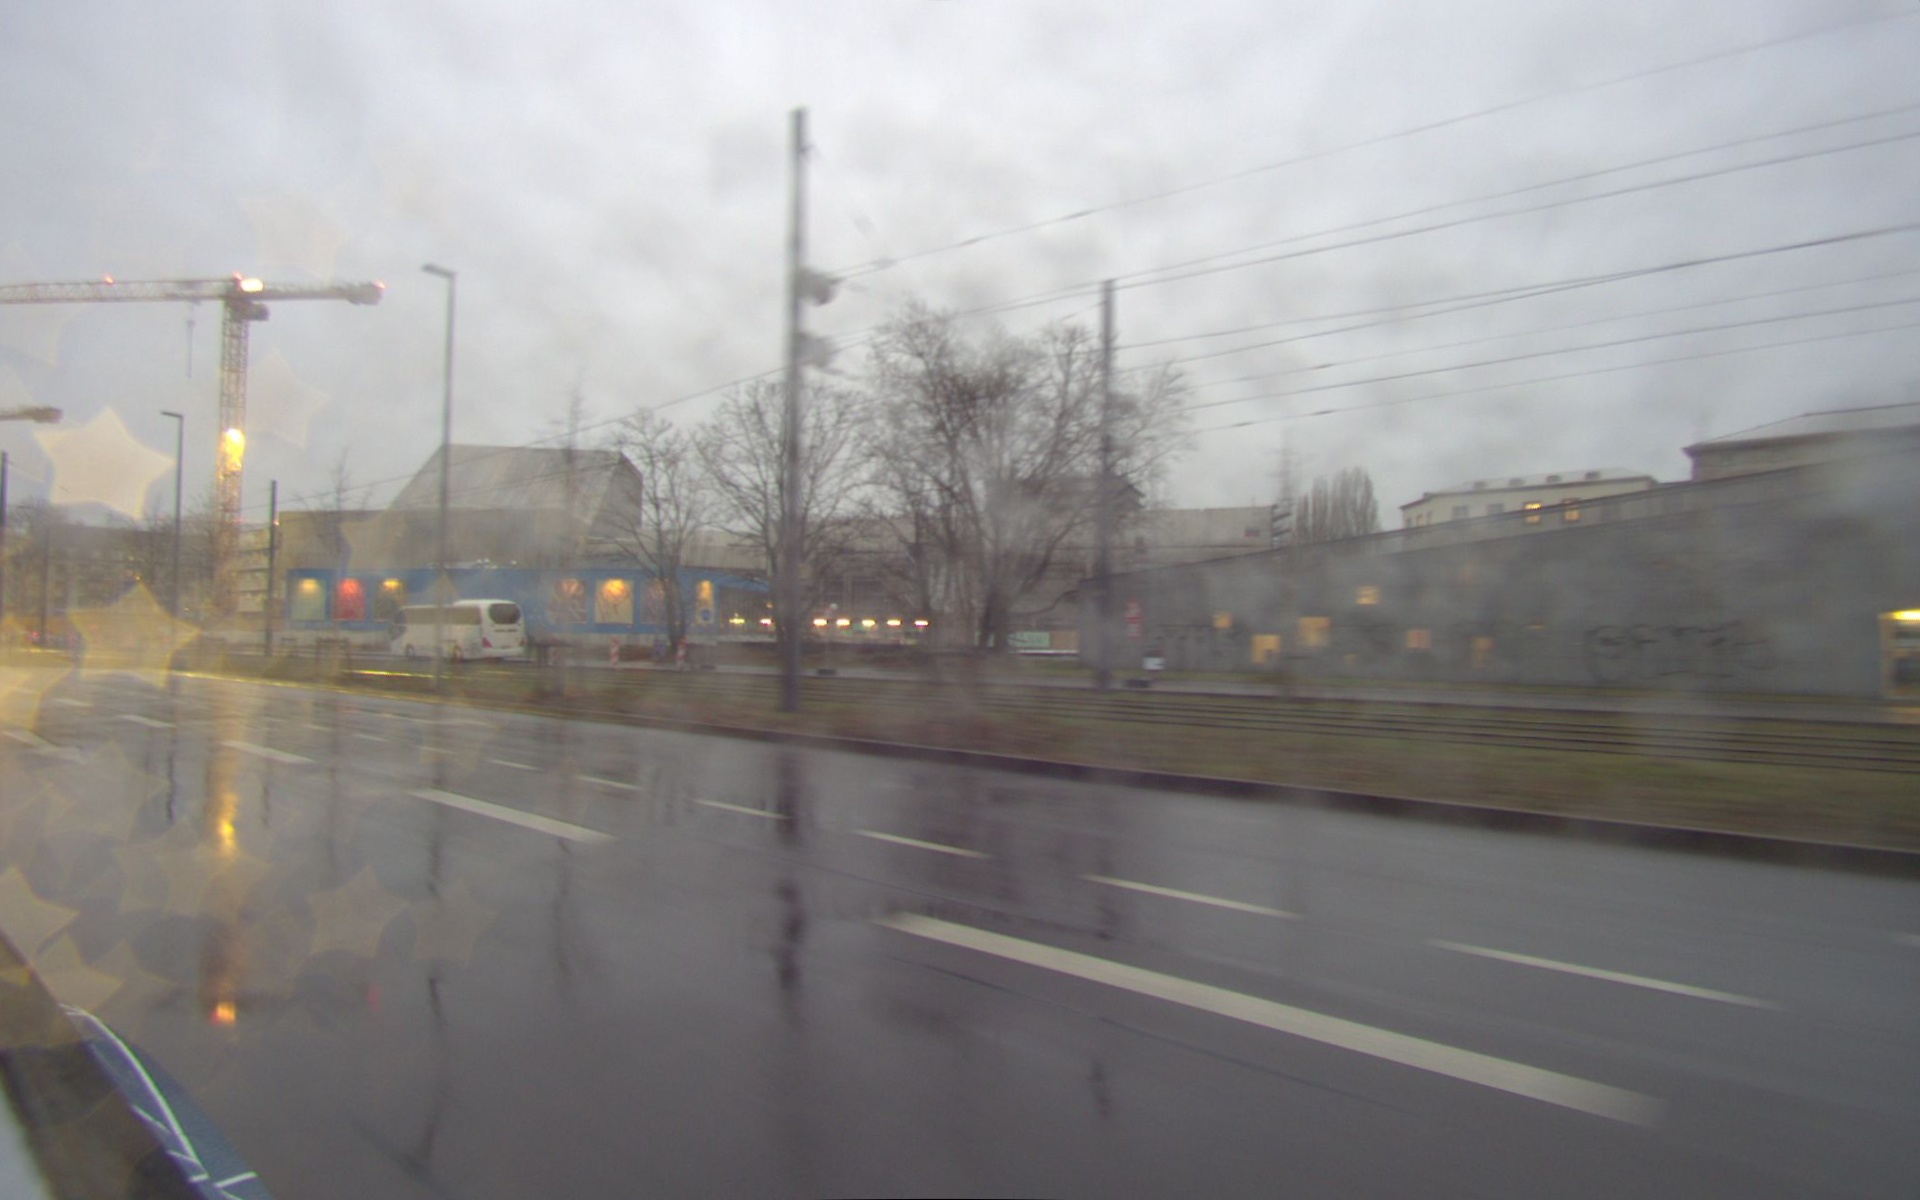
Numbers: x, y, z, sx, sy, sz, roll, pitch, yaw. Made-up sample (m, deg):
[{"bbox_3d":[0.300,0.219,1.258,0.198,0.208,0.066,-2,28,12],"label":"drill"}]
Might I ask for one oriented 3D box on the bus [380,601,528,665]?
[{"bbox_3d":[-31.494,2.067,62.628,12.282,3.605,2.781,-1,-4,36],"label":"bus"}]
